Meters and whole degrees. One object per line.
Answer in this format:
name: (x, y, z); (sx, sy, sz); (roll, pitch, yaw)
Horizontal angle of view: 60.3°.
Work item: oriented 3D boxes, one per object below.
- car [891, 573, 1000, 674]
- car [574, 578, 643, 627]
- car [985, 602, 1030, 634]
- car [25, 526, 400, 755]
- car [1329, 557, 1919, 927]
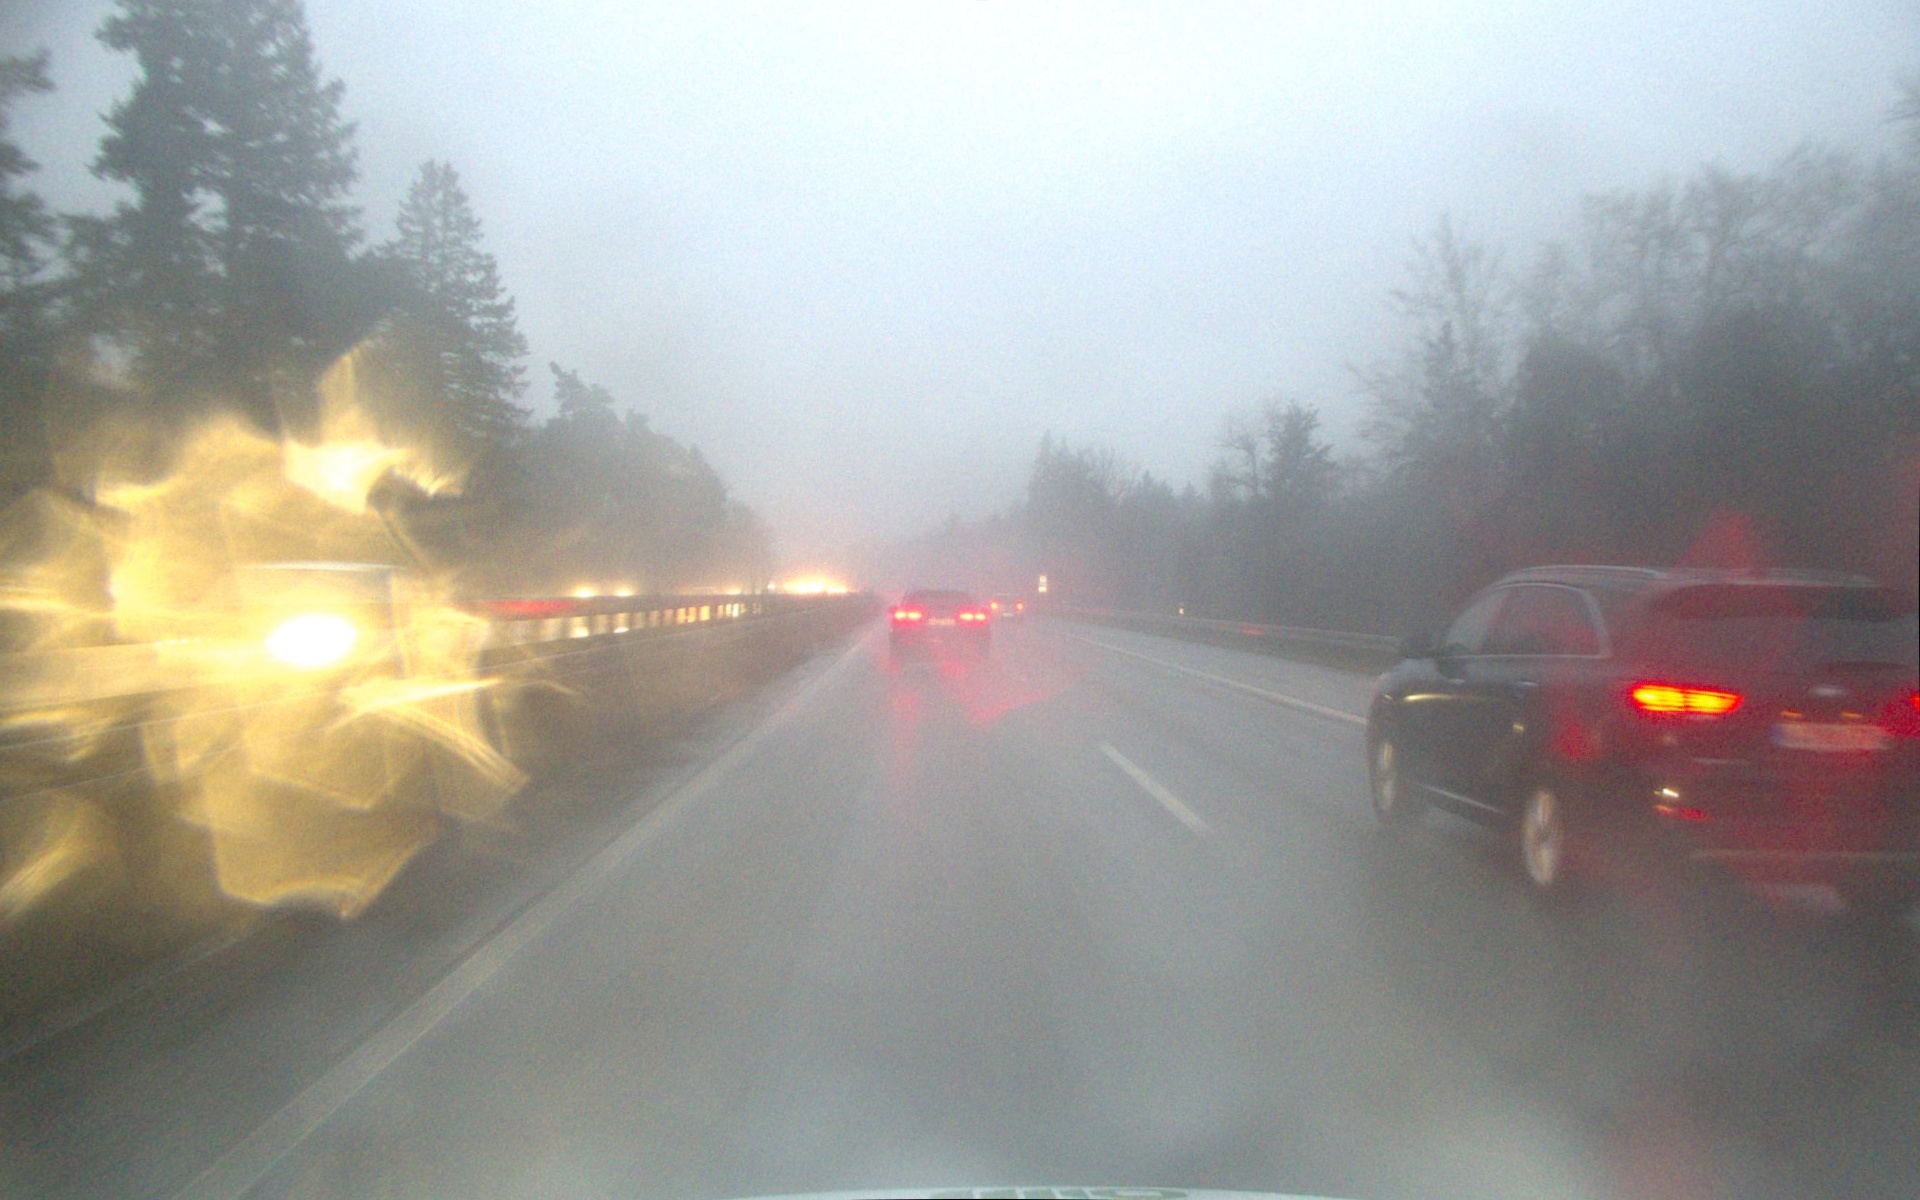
car: (-0.316, 0.417, 31.543); (1.946, 1.798, 4.172); (0, 0, -2)
car: (-12.829, 0.084, 60.623); (1.776, 1.720, 3.998); (1, 0, -2)
car: (2.244, 0.858, 78.900); (1.745, 1.462, 3.534); (1, 0, -4)
car: (-7.561, 0.363, 17.322); (1.894, 2.049, 4.638); (1, 0, -2)
car: (3.792, 0.668, 10.052); (2.028, 1.727, 4.460); (1, 0, -1)
